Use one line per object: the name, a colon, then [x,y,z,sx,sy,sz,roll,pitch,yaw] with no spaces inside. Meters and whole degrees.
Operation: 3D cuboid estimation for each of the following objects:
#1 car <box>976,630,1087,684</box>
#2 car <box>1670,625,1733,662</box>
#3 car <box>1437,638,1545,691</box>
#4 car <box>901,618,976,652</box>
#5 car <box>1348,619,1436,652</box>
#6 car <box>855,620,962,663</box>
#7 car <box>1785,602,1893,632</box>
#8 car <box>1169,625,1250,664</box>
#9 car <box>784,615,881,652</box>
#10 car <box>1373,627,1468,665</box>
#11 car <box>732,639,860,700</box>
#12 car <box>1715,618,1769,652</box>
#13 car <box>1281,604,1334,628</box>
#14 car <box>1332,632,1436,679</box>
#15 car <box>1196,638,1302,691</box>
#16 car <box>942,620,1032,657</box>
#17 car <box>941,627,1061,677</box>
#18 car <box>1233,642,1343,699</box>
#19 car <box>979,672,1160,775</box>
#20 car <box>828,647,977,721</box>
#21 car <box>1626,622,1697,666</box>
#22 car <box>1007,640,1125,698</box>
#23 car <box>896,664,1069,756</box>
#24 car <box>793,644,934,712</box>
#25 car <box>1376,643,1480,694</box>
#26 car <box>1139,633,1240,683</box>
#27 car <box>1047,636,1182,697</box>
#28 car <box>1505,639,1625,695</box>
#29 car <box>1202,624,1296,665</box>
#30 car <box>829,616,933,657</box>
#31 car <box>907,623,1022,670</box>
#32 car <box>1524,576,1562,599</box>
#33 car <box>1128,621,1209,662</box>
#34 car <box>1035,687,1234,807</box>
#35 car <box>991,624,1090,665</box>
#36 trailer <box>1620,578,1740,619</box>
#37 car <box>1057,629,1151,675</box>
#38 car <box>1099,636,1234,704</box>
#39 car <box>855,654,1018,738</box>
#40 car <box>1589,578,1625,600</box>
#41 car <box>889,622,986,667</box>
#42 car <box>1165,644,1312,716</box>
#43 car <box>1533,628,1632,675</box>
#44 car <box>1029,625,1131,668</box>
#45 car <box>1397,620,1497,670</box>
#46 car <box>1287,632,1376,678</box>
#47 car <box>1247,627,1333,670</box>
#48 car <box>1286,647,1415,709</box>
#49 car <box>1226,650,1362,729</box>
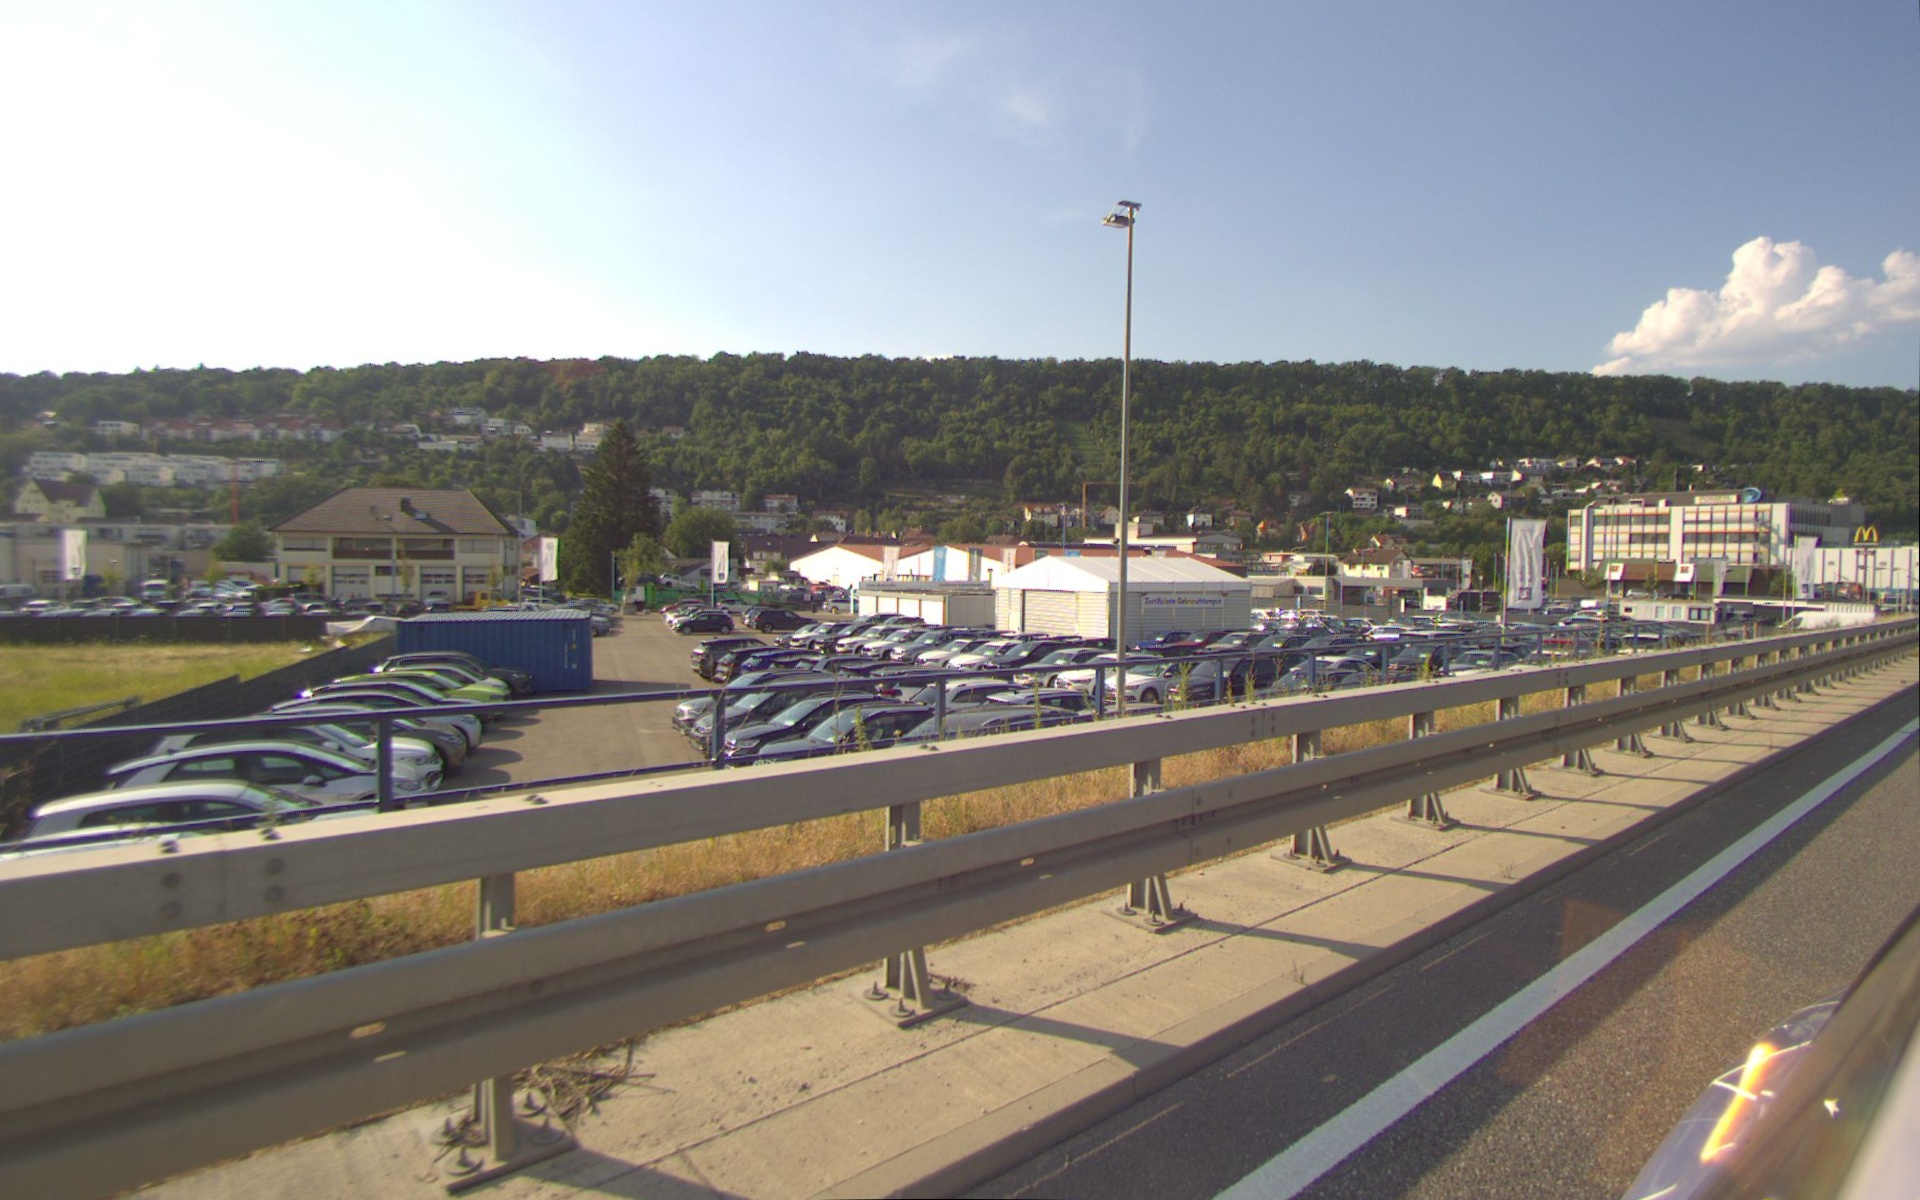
car: [2.686,2.083,37.815,3.925,1.705,1.780,-1,1,-36]
car: [37.604,2.168,51.289,4.238,1.646,1.740,-2,1,-42]
car: [20.297,2.416,38.642,4.643,1.656,1.885,-1,1,-38]
car: [-1.200,1.939,56.981,3.924,1.705,1.781,-1,1,-35]
car: [24.927,2.013,58.511,1.849,1.656,4.441,-1,1,-33]
car: [-2.325,1.847,46.234,4.642,1.656,1.885,-1,1,-36]
car: [65.860,1.239,75.927,1.964,2.039,5.896,-1,1,-38]
car: [12.477,2.191,50.536,3.924,1.705,1.781,-1,1,-35]
car: [-6.543,1.706,52.105,4.642,1.656,1.885,-1,1,-36]
car: [22.255,2.181,48.903,4.636,1.541,1.887,-1,1,-31]
car: [-5.551,2.316,34.484,3.926,1.705,1.780,-1,1,-37]
car: [43.023,1.872,55.668,4.240,1.646,1.739,-2,1,-44]
car: [30.069,1.369,87.641,1.889,1.883,4.001,-1,1,-33]
car: [17.854,2.275,42.568,4.641,1.656,1.885,-1,1,-36]
car: [10.968,2.396,38.319,3.924,1.705,1.781,-1,1,-35]
car: [1.431,1.975,52.781,4.488,1.656,1.885,-1,1,-36]
car: [1.654,2.011,40.014,4.643,1.656,1.885,-1,1,-38]
car: [11.863,2.477,36.515,3.924,1.705,1.781,-1,1,-35]
car: [2.471,2.641,22.410,3.930,1.705,1.778,-1,1,-40]
car: [-1.612,2.340,29.013,3.926,1.705,1.780,-1,1,-37]
car: [31.115,1.918,44.850,1.880,1.646,4.655,0,1,44]
car: [3.748,2.373,35.633,3.924,1.705,1.781,-1,1,-35]
car: [0.584,2.548,24.334,3.927,1.705,1.779,-1,1,-38]
car: [-2.912,2.322,30.866,3.926,1.705,1.780,-1,1,-37]
car: [18.793,2.693,40.579,4.643,1.656,1.884,-1,1,-38]
car: [9.212,2.280,40.488,3.924,1.705,1.781,-1,1,-35]
car: [5.255,2.178,34.027,4.646,1.656,1.883,-1,1,-40]
car: [21.777,2.343,36.378,4.639,1.646,1.886,-1,1,-34]
car: [13.877,2.099,48.541,4.641,1.656,1.885,-1,1,-36]
car: [-3.720,1.691,48.093,4.642,1.656,1.885,-1,1,-36]
car: [0.209,1.883,42.125,4.644,1.656,1.884,-1,1,-39]
car: [65.549,-1.420,113.773,5.370,2.581,1.759,-1,1,-38]
car: [10.752,2.115,52.071,3.924,1.703,1.783,-1,7,-35]
car: [3.508,2.788,19.971,3.930,1.705,1.778,-1,1,-40]
car: [3.904,2.106,48.614,4.641,1.656,1.885,-1,1,-36]
trailer: [62.914,-0.160,88.594,3.296,3.364,7.902,-1,1,-36]
car: [6.314,2.233,44.352,3.924,1.705,1.781,-1,1,-35]
car: [6.614,2.144,32.107,4.588,1.737,1.837,-2,1,-42]
car: [-0.568,2.411,26.245,3.926,1.705,1.780,-1,1,-37]
car: [71.601,-1.248,112.003,5.201,2.274,1.759,-1,1,-38]
car: [-0.954,1.871,43.844,3.926,1.705,1.780,-1,1,-37]
car: [8.291,2.288,29.916,4.649,1.671,2.002,-2,1,-42]
car: [25.886,2.091,42.047,4.641,1.646,1.885,-1,1,-36]
car: [5.550,2.109,46.684,4.641,1.656,1.885,-1,1,-36]
car: [22.182,1.998,46.045,4.636,1.955,1.887,-1,1,-31]
car: [16.352,2.386,44.512,3.924,1.705,1.781,-1,1,-35]
car: [15.145,2.170,46.405,3.924,1.705,1.781,-1,1,-35]
car: [13.231,2.556,34.161,4.642,1.656,1.885,-1,1,-37]
car: [9.125,2.364,27.520,3.931,1.705,1.778,-1,1,-41]
